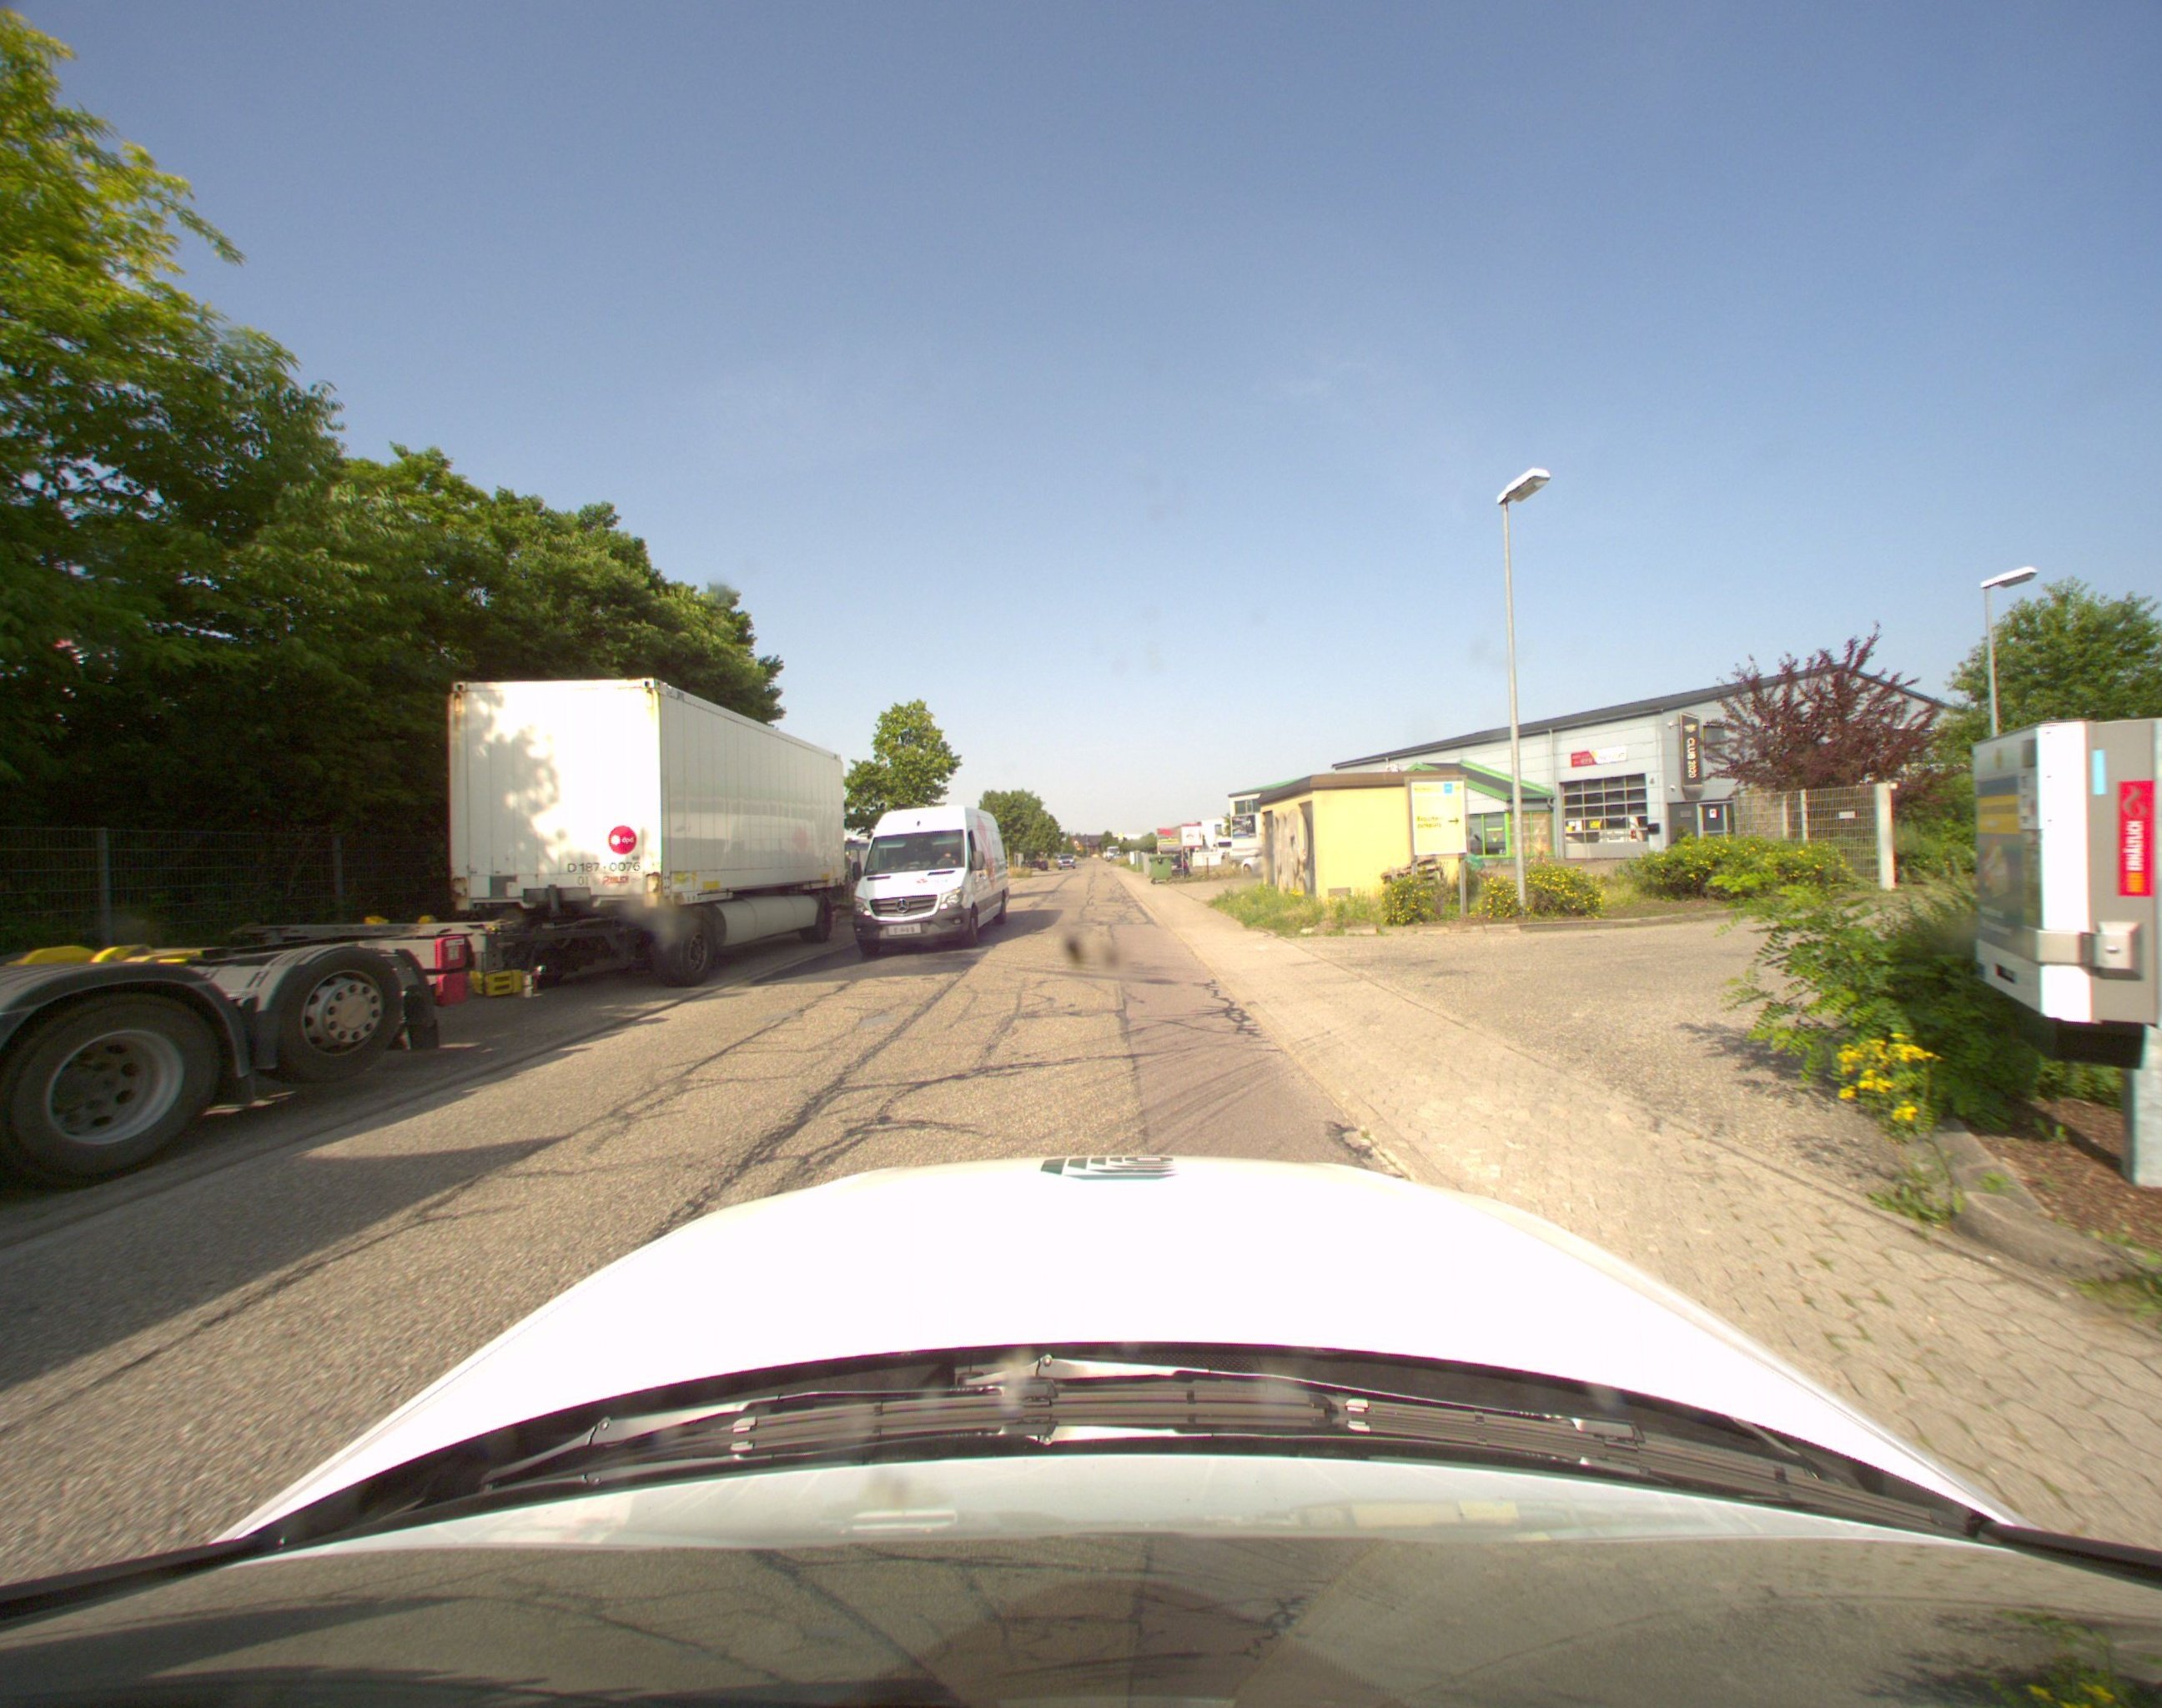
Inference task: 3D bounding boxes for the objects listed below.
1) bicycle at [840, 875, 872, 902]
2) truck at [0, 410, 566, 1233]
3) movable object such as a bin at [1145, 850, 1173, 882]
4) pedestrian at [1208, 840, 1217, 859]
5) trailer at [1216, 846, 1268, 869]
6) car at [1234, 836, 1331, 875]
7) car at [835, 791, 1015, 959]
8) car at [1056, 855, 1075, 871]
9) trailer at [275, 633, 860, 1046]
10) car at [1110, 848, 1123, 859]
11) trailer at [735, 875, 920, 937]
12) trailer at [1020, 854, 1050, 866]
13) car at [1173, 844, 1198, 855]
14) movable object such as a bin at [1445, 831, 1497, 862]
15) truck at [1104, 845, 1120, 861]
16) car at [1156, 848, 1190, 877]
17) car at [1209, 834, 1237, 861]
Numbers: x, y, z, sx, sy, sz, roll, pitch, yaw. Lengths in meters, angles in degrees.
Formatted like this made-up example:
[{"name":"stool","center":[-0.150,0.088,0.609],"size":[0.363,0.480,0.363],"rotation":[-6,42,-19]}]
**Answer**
[{"name":"bicycle","center":[-9.120,1.380,33.099],"size":[0.560,0.973,2.452],"rotation":[-3,0,0]},{"name":"truck","center":[-6.471,-0.131,2.996],"size":[2.703,3.884,9.639],"rotation":[-2,0,2]},{"name":"movable object such as a bin","center":[3.557,0.532,37.404],"size":[1.077,1.353,1.506],"rotation":[-5,0,2]},{"name":"pedestrian","center":[11.785,-0.423,73.018],"size":[0.698,1.640,0.751],"rotation":[-3,0,9]},{"name":"trailer","center":[9.199,0.216,46.751],"size":[1.497,1.248,2.952],"rotation":[-2,0,-25]},{"name":"car","center":[8.362,0.105,34.160],"size":[1.695,1.466,4.229],"rotation":[-3,0,-23]},{"name":"car","center":[-2.765,0.309,16.465],"size":[1.986,2.547,6.991],"rotation":[-4,0,1]},{"name":"car","center":[-1.685,0.933,89.693],"size":[1.806,1.627,4.249],"rotation":[-4,0,0]},{"name":"trailer","center":[-6.247,-0.156,12.683],"size":[2.690,3.884,9.766],"rotation":[-2,0,1]},{"name":"car","center":[5.299,-0.113,121.718],"size":[1.788,1.517,4.424],"rotation":[-3,0,1]},{"name":"trailer","center":[-6.089,1.211,20.700],"size":[2.640,0.985,6.243],"rotation":[-4,0,0]},{"name":"trailer","center":[-4.763,0.581,86.091],"size":[2.574,1.184,9.363],"rotation":[-1,0,1]},{"name":"car","center":[17.789,-0.762,138.938],"size":[4.560,1.589,1.667],"rotation":[-3,0,-44]},{"name":"movable object such as a bin","center":[17.975,-0.316,37.577],"size":[1.000,1.345,1.994],"rotation":[-3,0,-21]},{"name":"truck","center":[5.494,-0.244,145.456],"size":[2.353,2.681,6.505],"rotation":[-3,0,-3]},{"name":"car","center":[4.864,0.419,43.321],"size":[1.665,1.368,4.400],"rotation":[-3,0,6]},{"name":"car","center":[15.493,-0.666,88.931],"size":[1.967,2.705,5.881],"rotation":[-3,0,1]}]
